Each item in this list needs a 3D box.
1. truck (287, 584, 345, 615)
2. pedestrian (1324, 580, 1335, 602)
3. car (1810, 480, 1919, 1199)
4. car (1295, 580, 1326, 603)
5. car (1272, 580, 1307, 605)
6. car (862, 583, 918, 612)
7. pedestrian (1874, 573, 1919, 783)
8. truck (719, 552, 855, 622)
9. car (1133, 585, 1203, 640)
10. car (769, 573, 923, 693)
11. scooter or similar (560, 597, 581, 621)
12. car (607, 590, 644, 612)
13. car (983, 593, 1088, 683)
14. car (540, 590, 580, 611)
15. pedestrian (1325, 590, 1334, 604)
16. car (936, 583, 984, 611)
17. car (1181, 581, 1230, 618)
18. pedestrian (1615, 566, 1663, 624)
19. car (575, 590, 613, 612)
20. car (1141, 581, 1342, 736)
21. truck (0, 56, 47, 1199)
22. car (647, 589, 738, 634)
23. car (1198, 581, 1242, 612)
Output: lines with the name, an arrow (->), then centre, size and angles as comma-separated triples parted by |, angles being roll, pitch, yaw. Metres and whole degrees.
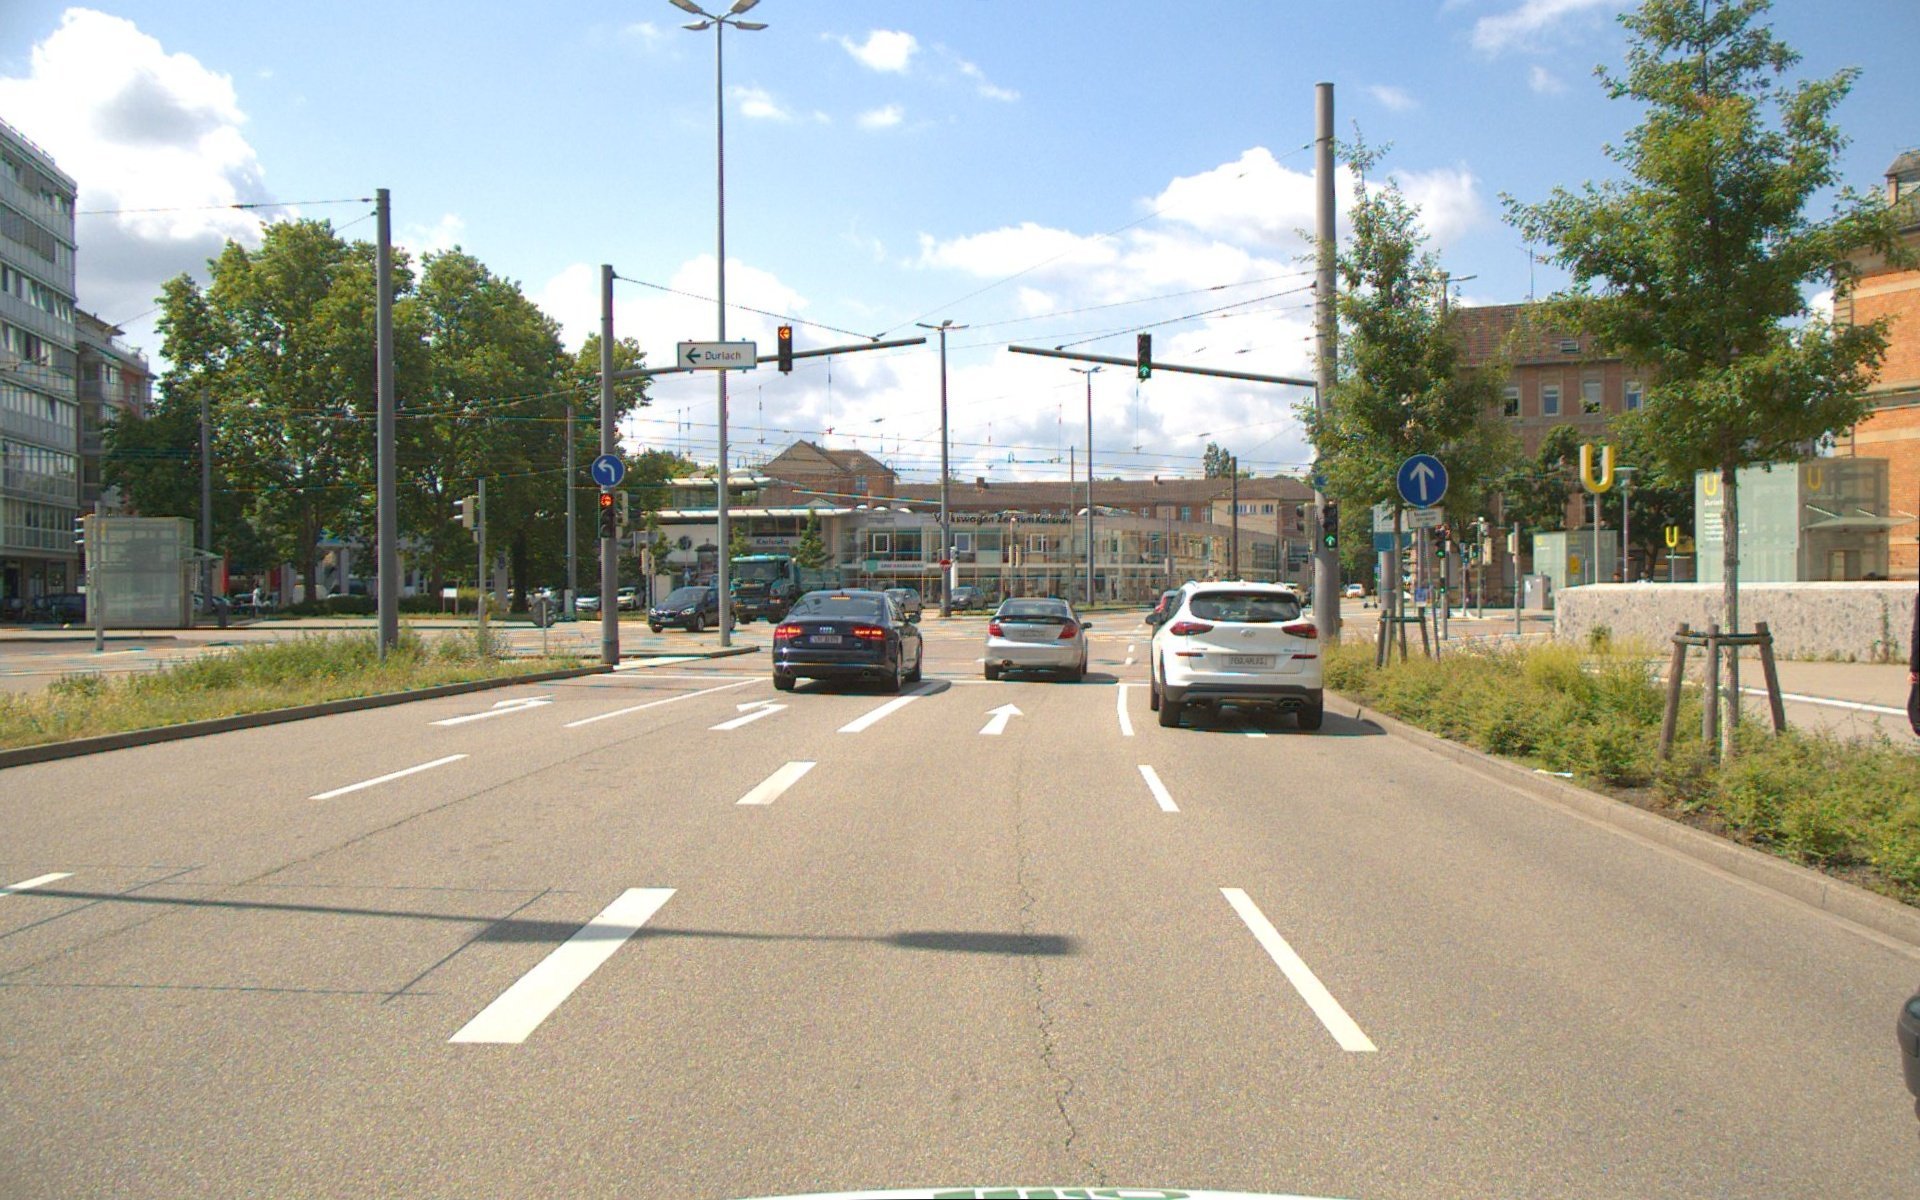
truck -> -47.007, -0.042, 120.837 | 1.765, 2.157, 4.783 | -1, 0, 8
pedestrian -> 25.197, -0.590, 112.694 | 0.678, 1.483, 0.680 | 0, -1, 19
car -> 3.062, 0.625, 1.945 | 1.758, 1.753, 4.447 | 1, 0, -1
car -> 26.626, -0.669, 125.480 | 1.842, 1.670, 3.958 | 0, 1, 19
car -> 22.349, -0.507, 112.209 | 1.842, 1.670, 3.959 | 0, 1, 19
car -> -3.694, -0.143, 87.586 | 1.618, 1.459, 4.274 | -1, 0, 17
pedestrian -> 7.787, 0.611, 13.061 | 0.740, 1.617, 0.761 | 0, -1, 3
truck -> -7.599, -0.590, 74.285 | 2.824, 2.902, 8.797 | -1, 0, 17
car -> 5.826, 0.319, 46.015 | 1.841, 1.444, 3.960 | 0, 1, 8
car -> -1.653, 0.445, 25.647 | 1.888, 1.670, 4.794 | -1, 1, 2
scooter or similar -> -18.283, 0.432, 77.611 | 0.370, 1.135, 1.095 | 0, -1, 22
car -> -25.619, 0.078, 126.857 | 1.952, 1.601, 4.178 | 0, -1, 1
car -> 1.404, 0.622, 29.480 | 1.705, 1.416, 4.182 | 1, 1, 4
car -> -30.735, 0.047, 127.250 | 1.952, 1.601, 4.178 | 0, -1, 1
pedestrian -> 25.160, -0.194, 112.605 | 0.513, 0.922, 1.562 | 0, -1, 18
car -> 0.024, -0.183, 96.686 | 1.681, 1.558, 4.124 | -1, 0, 17
car -> 11.440, -0.041, 76.808 | 1.841, 1.670, 3.960 | 0, 1, 14
pedestrian -> 20.467, -0.154, 49.873 | 0.954, 1.686, 0.855 | -2, -1, -30
car -> -28.124, 0.064, 127.194 | 1.952, 1.601, 4.178 | 0, -1, 1
car -> 3.286, 0.611, 20.065 | 1.842, 1.670, 4.234 | -1, 1, 2
truck -> -3.101, 0.080, 0.970 | 2.094, 2.686, 5.913 | 0, 0, -3
car -> -9.270, 0.370, 57.578 | 1.618, 1.494, 4.157 | -1, 0, 14
car -> 14.680, -0.194, 93.085 | 1.841, 1.670, 3.959 | 0, 1, 18
